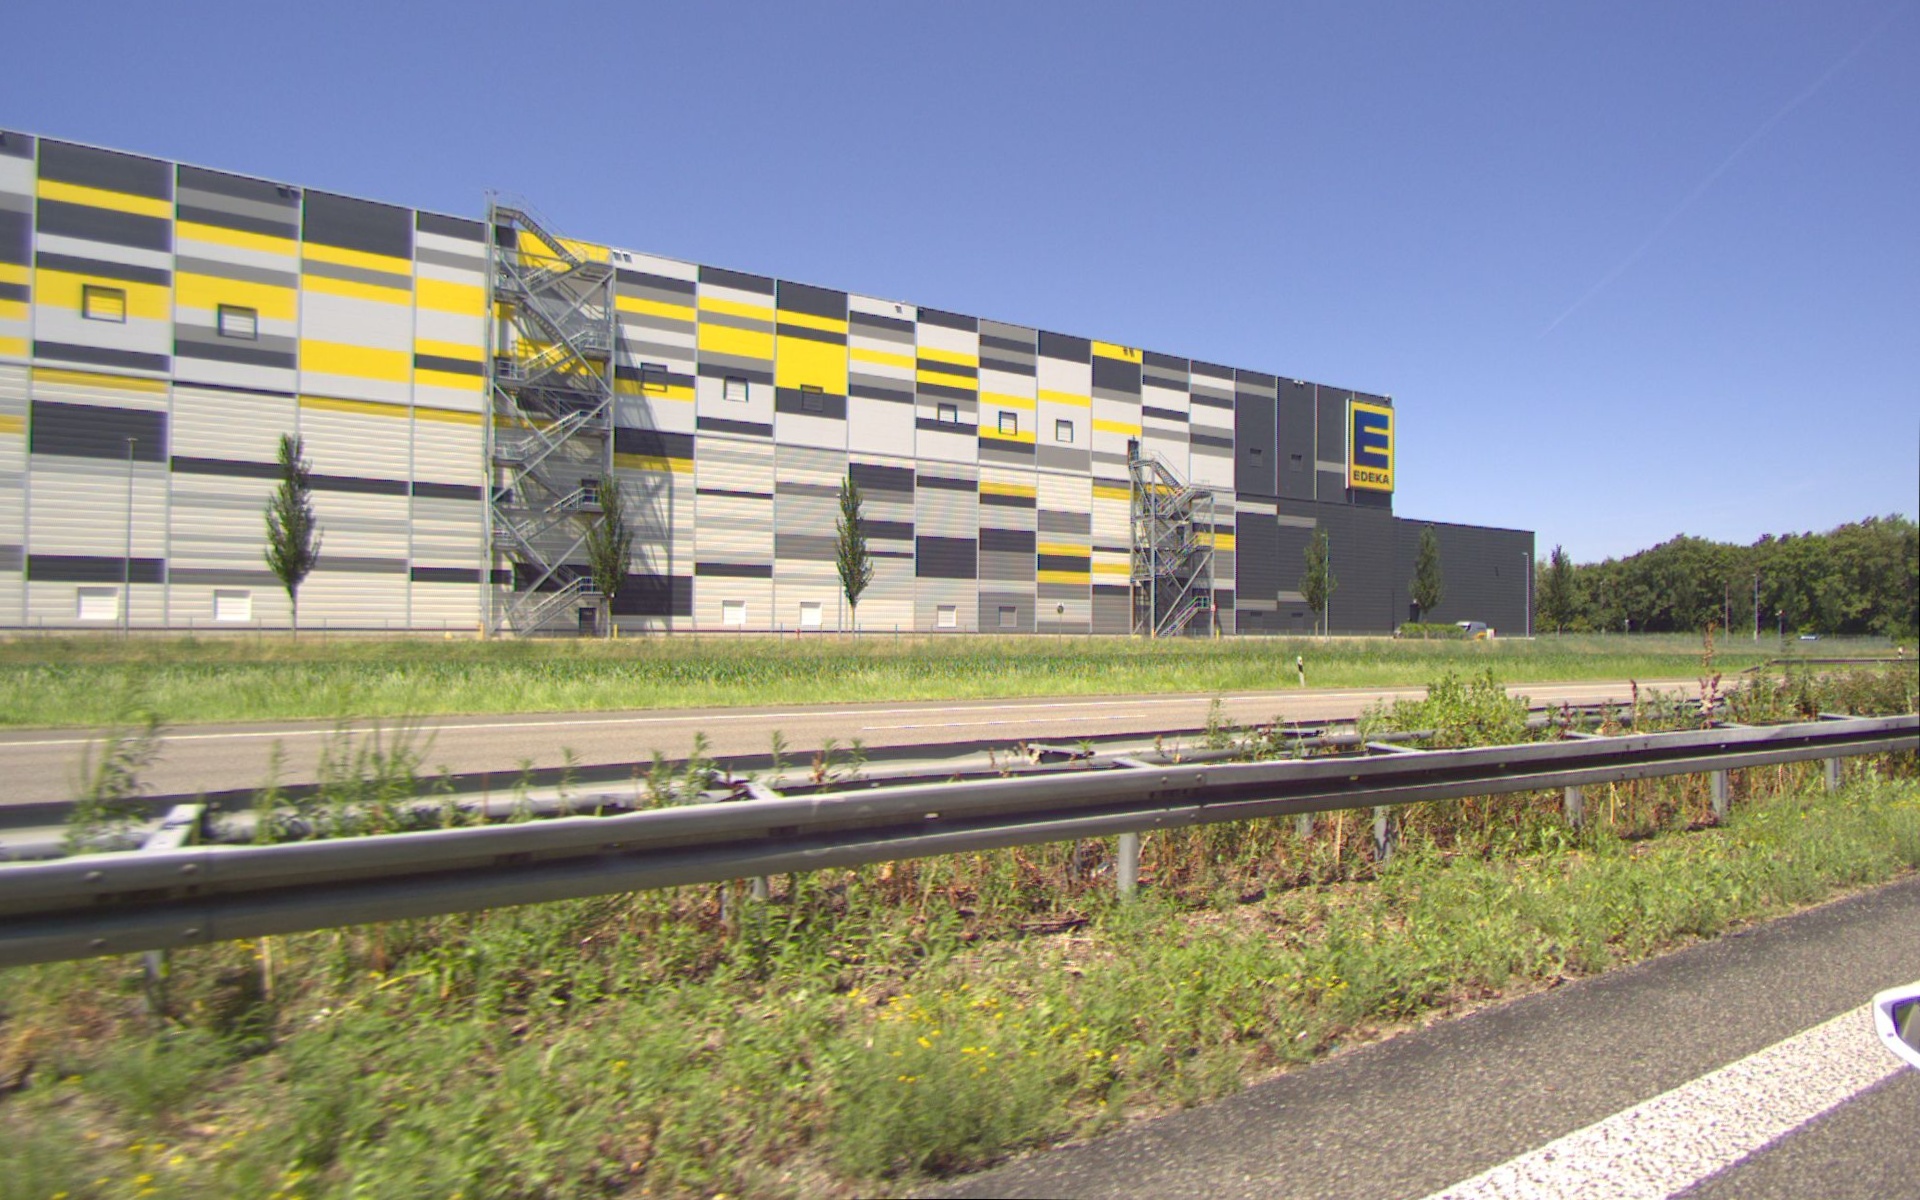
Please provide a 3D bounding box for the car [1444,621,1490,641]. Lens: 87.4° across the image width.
[{"bbox_3d":[64.900,4.004,128.501,6.102,2.488,2.386,2,-2,-31],"label":"car"}]
